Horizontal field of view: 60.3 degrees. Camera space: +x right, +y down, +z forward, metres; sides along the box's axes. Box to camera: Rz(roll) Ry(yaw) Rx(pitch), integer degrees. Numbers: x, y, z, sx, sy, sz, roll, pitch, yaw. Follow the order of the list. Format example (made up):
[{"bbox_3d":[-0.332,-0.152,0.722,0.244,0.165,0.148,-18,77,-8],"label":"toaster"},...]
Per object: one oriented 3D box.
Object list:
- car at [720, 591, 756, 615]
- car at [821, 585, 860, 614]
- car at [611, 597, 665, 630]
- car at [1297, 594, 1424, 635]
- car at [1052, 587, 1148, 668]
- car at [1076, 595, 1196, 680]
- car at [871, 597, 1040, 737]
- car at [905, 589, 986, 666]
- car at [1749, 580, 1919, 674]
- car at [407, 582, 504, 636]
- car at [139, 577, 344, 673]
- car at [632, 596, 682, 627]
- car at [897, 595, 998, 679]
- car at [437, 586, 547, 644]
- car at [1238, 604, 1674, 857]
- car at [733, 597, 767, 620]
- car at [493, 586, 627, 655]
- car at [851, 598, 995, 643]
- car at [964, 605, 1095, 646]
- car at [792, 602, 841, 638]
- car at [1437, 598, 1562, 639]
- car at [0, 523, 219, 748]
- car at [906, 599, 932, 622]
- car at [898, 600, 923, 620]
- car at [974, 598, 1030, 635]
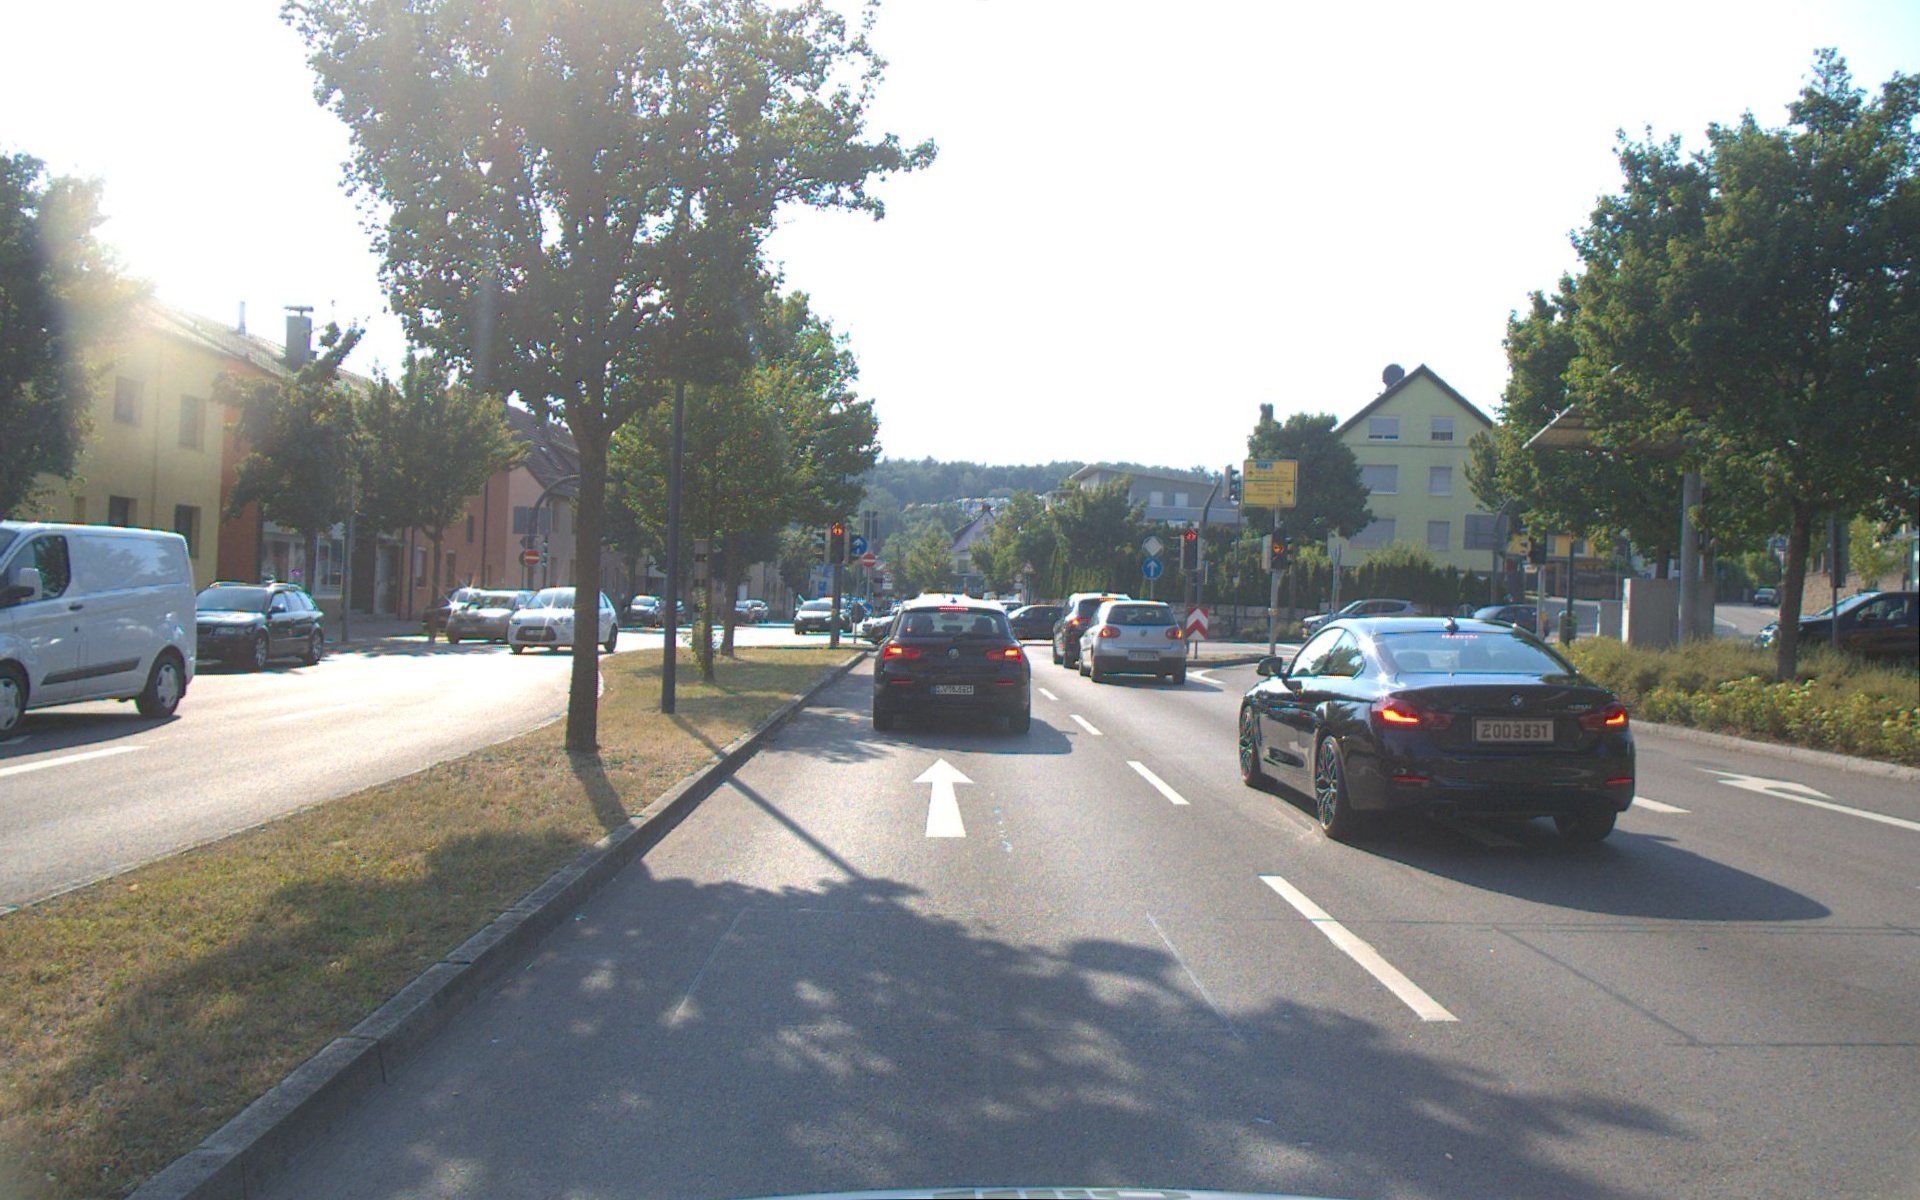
[{"bbox_3d":[-15.338,0.200,114.220,1.884,1.624,4.000,1,0,0],"label":"car"},{"bbox_3d":[-6.035,-0.032,84.044,1.658,1.377,4.000,1,0,0],"label":"car"},{"bbox_3d":[-16.354,0.673,84.139,1.884,1.624,4.000,1,0,0],"label":"car"},{"bbox_3d":[15.838,0.576,65.539,4.553,1.511,1.866,1,0,-5],"label":"car"},{"bbox_3d":[3.116,0.590,37.565,1.779,1.695,4.347,1,0,0],"label":"car"},{"bbox_3d":[3.255,0.659,31.334,1.779,1.471,4.347,1,0,0],"label":"car"},{"bbox_3d":[-0.043,0.706,19.561,1.754,1.439,4.347,1,0,0],"label":"car"},{"bbox_3d":[-0.317,0.610,39.046,1.779,1.670,4.241,1,0,0],"label":"car"},{"bbox_3d":[16.975,0.499,30.644,3.902,1.636,1.855,1,0,11],"label":"car"},{"bbox_3d":[-16.511,0.279,54.301,1.805,1.579,4.001,3,0,1],"label":"car"},{"bbox_3d":[-12.493,0.400,29.069,1.770,1.523,4.244,1,0,-1],"label":"car"},{"bbox_3d":[-16.354,0.607,89.385,1.884,1.624,4.000,1,0,0],"label":"car"},{"bbox_3d":[-0.222,0.655,31.726,1.779,1.476,4.241,1,0,0],"label":"car"},{"bbox_3d":[-13.065,0.403,46.445,1.651,1.488,4.712,1,0,1],"label":"car"},{"bbox_3d":[3.227,0.760,11.714,1.779,1.413,4.347,1,0,0],"label":"car"},{"bbox_3d":[-15.211,0.590,119.724,1.884,1.624,4.000,1,0,0],"label":"car"},{"bbox_3d":[-9.484,0.457,39.536,1.763,1.523,3.958,1,0,7],"label":"car"},{"bbox_3d":[-1.220,0.684,54.598,4.402,1.373,1.774,1,0,-23],"label":"car"},{"bbox_3d":[2.600,0.959,61.989,4.564,1.446,1.837,1,0,-22],"label":"car"},{"bbox_3d":[-6.223,0.853,71.892,1.730,1.484,4.000,1,0,0],"label":"car"},{"bbox_3d":[19.665,0.669,60.325,4.107,1.411,1.643,1,0,-16],"label":"car"},{"bbox_3d":[-9.235,0.293,16.070,1.785,1.957,4.944,1,0,0],"label":"car"},{"bbox_3d":[-3.085,0.796,124.338,1.885,1.624,3.999,1,0,-2],"label":"car"},{"bbox_3d":[-4.107,0.825,138.415,1.884,1.624,4.000,1,0,0],"label":"car"},{"bbox_3d":[1.944,0.757,78.320,1.856,1.732,4.514,0,0,-9],"label":"car"}]
